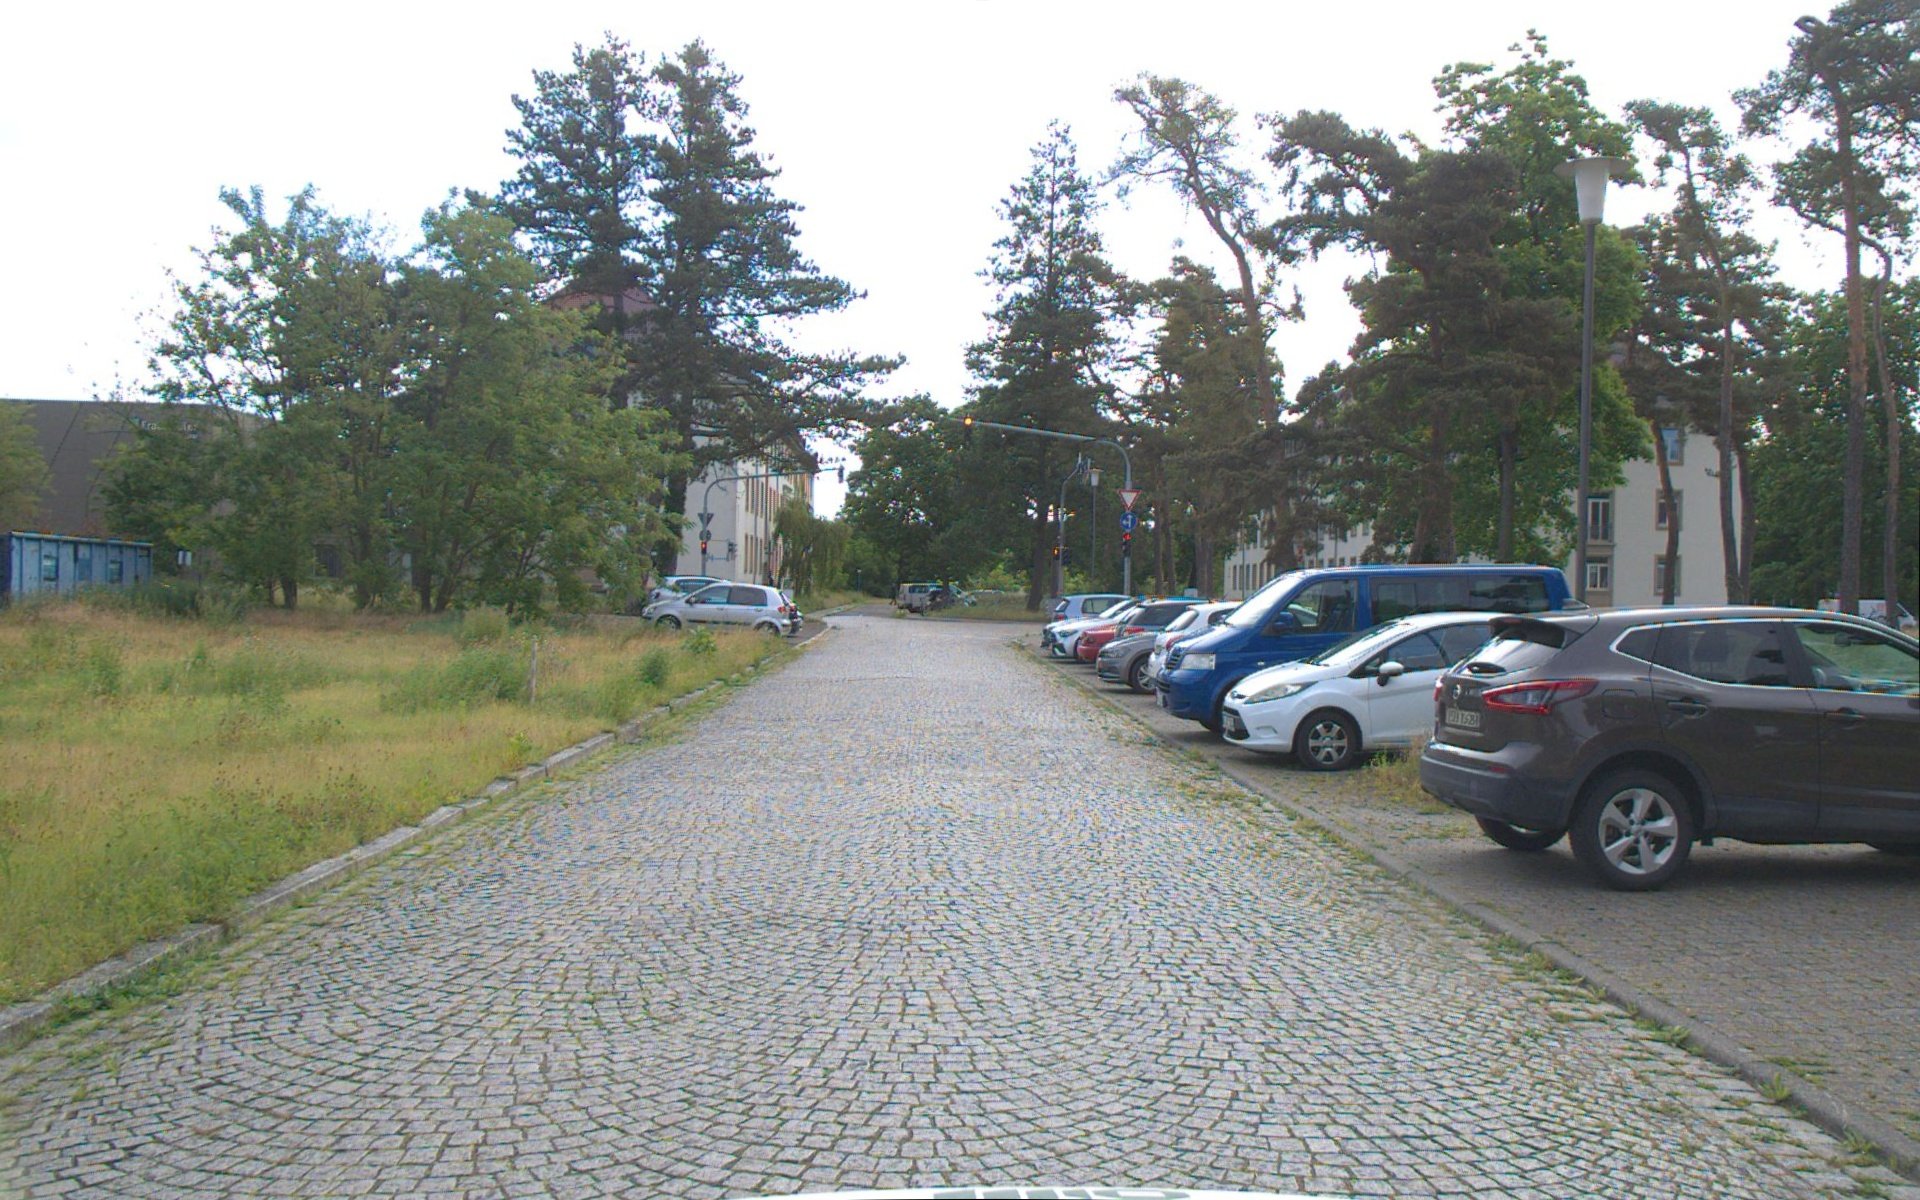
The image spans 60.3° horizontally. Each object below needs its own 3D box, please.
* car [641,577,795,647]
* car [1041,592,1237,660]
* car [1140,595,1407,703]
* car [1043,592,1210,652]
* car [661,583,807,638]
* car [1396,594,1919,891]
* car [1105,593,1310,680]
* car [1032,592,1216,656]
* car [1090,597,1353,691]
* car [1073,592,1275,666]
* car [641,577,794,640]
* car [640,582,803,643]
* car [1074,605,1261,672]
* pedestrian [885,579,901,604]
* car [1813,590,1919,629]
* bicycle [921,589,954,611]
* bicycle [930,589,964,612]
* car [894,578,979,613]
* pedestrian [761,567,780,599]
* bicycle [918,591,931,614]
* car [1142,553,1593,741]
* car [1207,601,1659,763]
[{"bbox_3d":[-6.031,0.294,41.557,3.648,1.506,1.672,3,0,-5],"label":"car"},{"bbox_3d":[4.026,0.574,37.512,4.108,1.462,1.752,0,1,-9],"label":"car"},{"bbox_3d":[4.570,0.703,24.425,3.580,1.504,1.765,0,1,-2],"label":"car"},{"bbox_3d":[4.287,0.559,42.843,4.056,1.489,1.631,0,0,-7],"label":"car"},{"bbox_3d":[-6.722,0.307,49.392,4.217,1.581,1.809,0,1,-8],"label":"car"},{"bbox_3d":[5.032,0.791,10.227,4.120,1.623,1.952,0,1,-4],"label":"car"},{"bbox_3d":[4.467,0.653,30.195,3.435,1.513,1.742,0,0,-2],"label":"car"},{"bbox_3d":[3.964,0.560,40.278,4.155,1.505,1.704,0,1,-13],"label":"car"},{"bbox_3d":[4.253,0.704,27.320,4.047,1.472,1.765,0,1,-1],"label":"car"},{"bbox_3d":[4.497,0.605,35.166,4.023,1.502,1.683,0,0,-4],"label":"car"},{"bbox_3d":[-6.834,0.234,46.933,4.216,1.762,1.650,0,0,-7],"label":"car"},{"bbox_3d":[-6.329,0.326,44.144,4.217,1.581,1.809,0,1,-8],"label":"car"},{"bbox_3d":[4.071,0.752,32.809,3.513,1.244,1.628,0,1,-1],"label":"car"},{"bbox_3d":[-5.673,-0.702,139.401,1.216,1.993,1.120,3,0,-7],"label":"pedestrian"},{"bbox_3d":[53.511,0.565,97.620,5.193,2.054,2.105,3,0,-1],"label":"car"},{"bbox_3d":[-1.340,-0.017,98.277,1.846,1.191,0.664,3,0,-7],"label":"bicycle"},{"bbox_3d":[-0.743,0.023,94.800,1.846,1.191,0.664,3,0,-7],"label":"bicycle"},{"bbox_3d":[-1.591,-0.302,109.578,5.285,2.138,2.171,1,0,-14],"label":"car"},{"bbox_3d":[-12.270,-1.087,106.912,1.053,1.993,1.121,3,0,-2],"label":"pedestrian"},{"bbox_3d":[-1.946,0.131,90.124,0.649,1.191,1.887,3,0,-1],"label":"bicycle"},{"bbox_3d":[4.599,0.511,19.115,4.700,2.039,1.965,0,0,-4],"label":"car"},{"bbox_3d":[4.646,0.782,16.572,4.017,1.504,1.720,0,0,-5],"label":"car"}]
